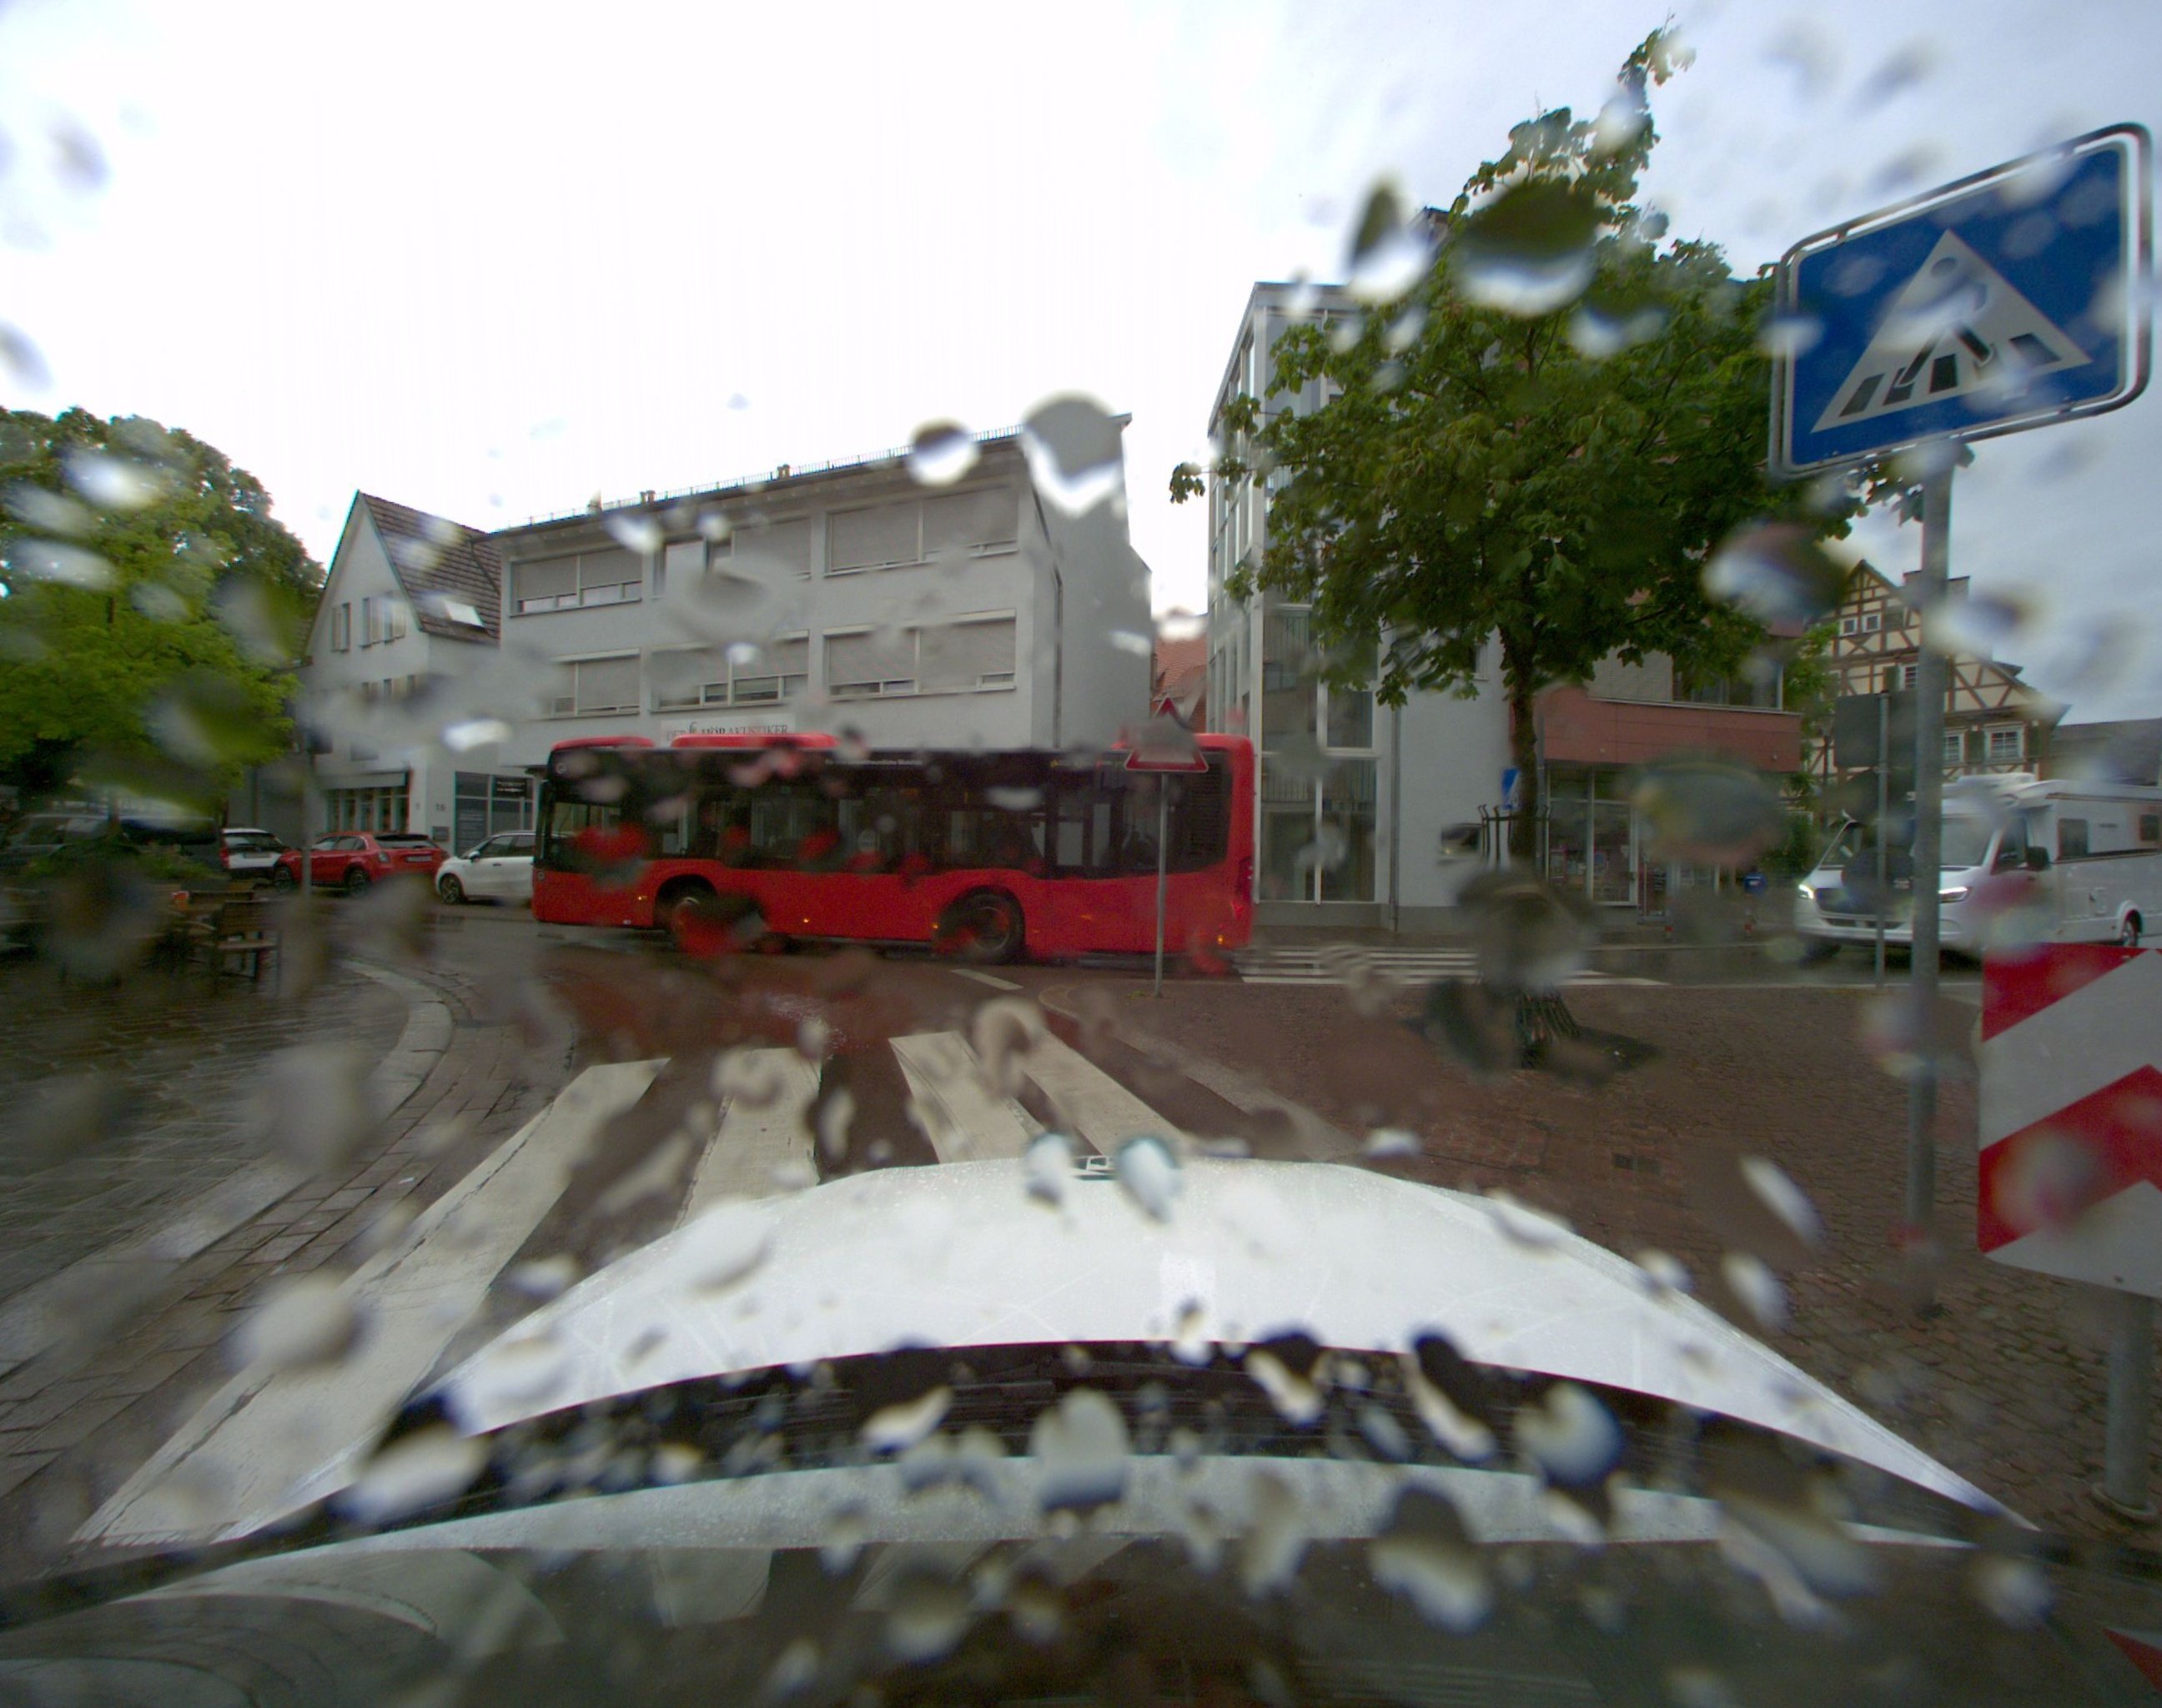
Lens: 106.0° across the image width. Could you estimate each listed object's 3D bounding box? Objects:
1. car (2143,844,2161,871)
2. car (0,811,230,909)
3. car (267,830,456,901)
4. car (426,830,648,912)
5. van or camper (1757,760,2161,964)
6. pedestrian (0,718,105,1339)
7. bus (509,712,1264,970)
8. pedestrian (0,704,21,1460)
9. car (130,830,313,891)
[{"bbox_3d":[70.786,0.250,53.143,3.337,1.713,1.661,1,-1,-39],"label":"car"},{"bbox_3d":[-20.397,0.054,16.943,4.672,1.780,1.963,2,2,19],"label":"car"},{"bbox_3d":[-17.093,0.227,19.388,3.756,1.528,1.691,1,1,18],"label":"car"},{"bbox_3d":[-11.897,0.312,17.859,4.181,1.612,1.700,1,1,16],"label":"car"},{"bbox_3d":[14.017,0.163,12.797,6.758,2.586,2.426,1,-2,-24],"label":"van or camper"},{"bbox_3d":[-3.615,0.501,2.281,0.685,1.800,1.065,0,-1,37],"label":"pedestrian"},{"bbox_3d":[-2.714,-0.206,12.082,10.506,3.088,2.830,1,0,10],"label":"bus"},{"bbox_3d":[-3.154,0.538,1.727,0.657,1.807,1.068,0,-1,37],"label":"pedestrian"},{"bbox_3d":[-22.546,0.164,21.401,3.817,1.496,1.808,0,-1,18],"label":"car"}]
